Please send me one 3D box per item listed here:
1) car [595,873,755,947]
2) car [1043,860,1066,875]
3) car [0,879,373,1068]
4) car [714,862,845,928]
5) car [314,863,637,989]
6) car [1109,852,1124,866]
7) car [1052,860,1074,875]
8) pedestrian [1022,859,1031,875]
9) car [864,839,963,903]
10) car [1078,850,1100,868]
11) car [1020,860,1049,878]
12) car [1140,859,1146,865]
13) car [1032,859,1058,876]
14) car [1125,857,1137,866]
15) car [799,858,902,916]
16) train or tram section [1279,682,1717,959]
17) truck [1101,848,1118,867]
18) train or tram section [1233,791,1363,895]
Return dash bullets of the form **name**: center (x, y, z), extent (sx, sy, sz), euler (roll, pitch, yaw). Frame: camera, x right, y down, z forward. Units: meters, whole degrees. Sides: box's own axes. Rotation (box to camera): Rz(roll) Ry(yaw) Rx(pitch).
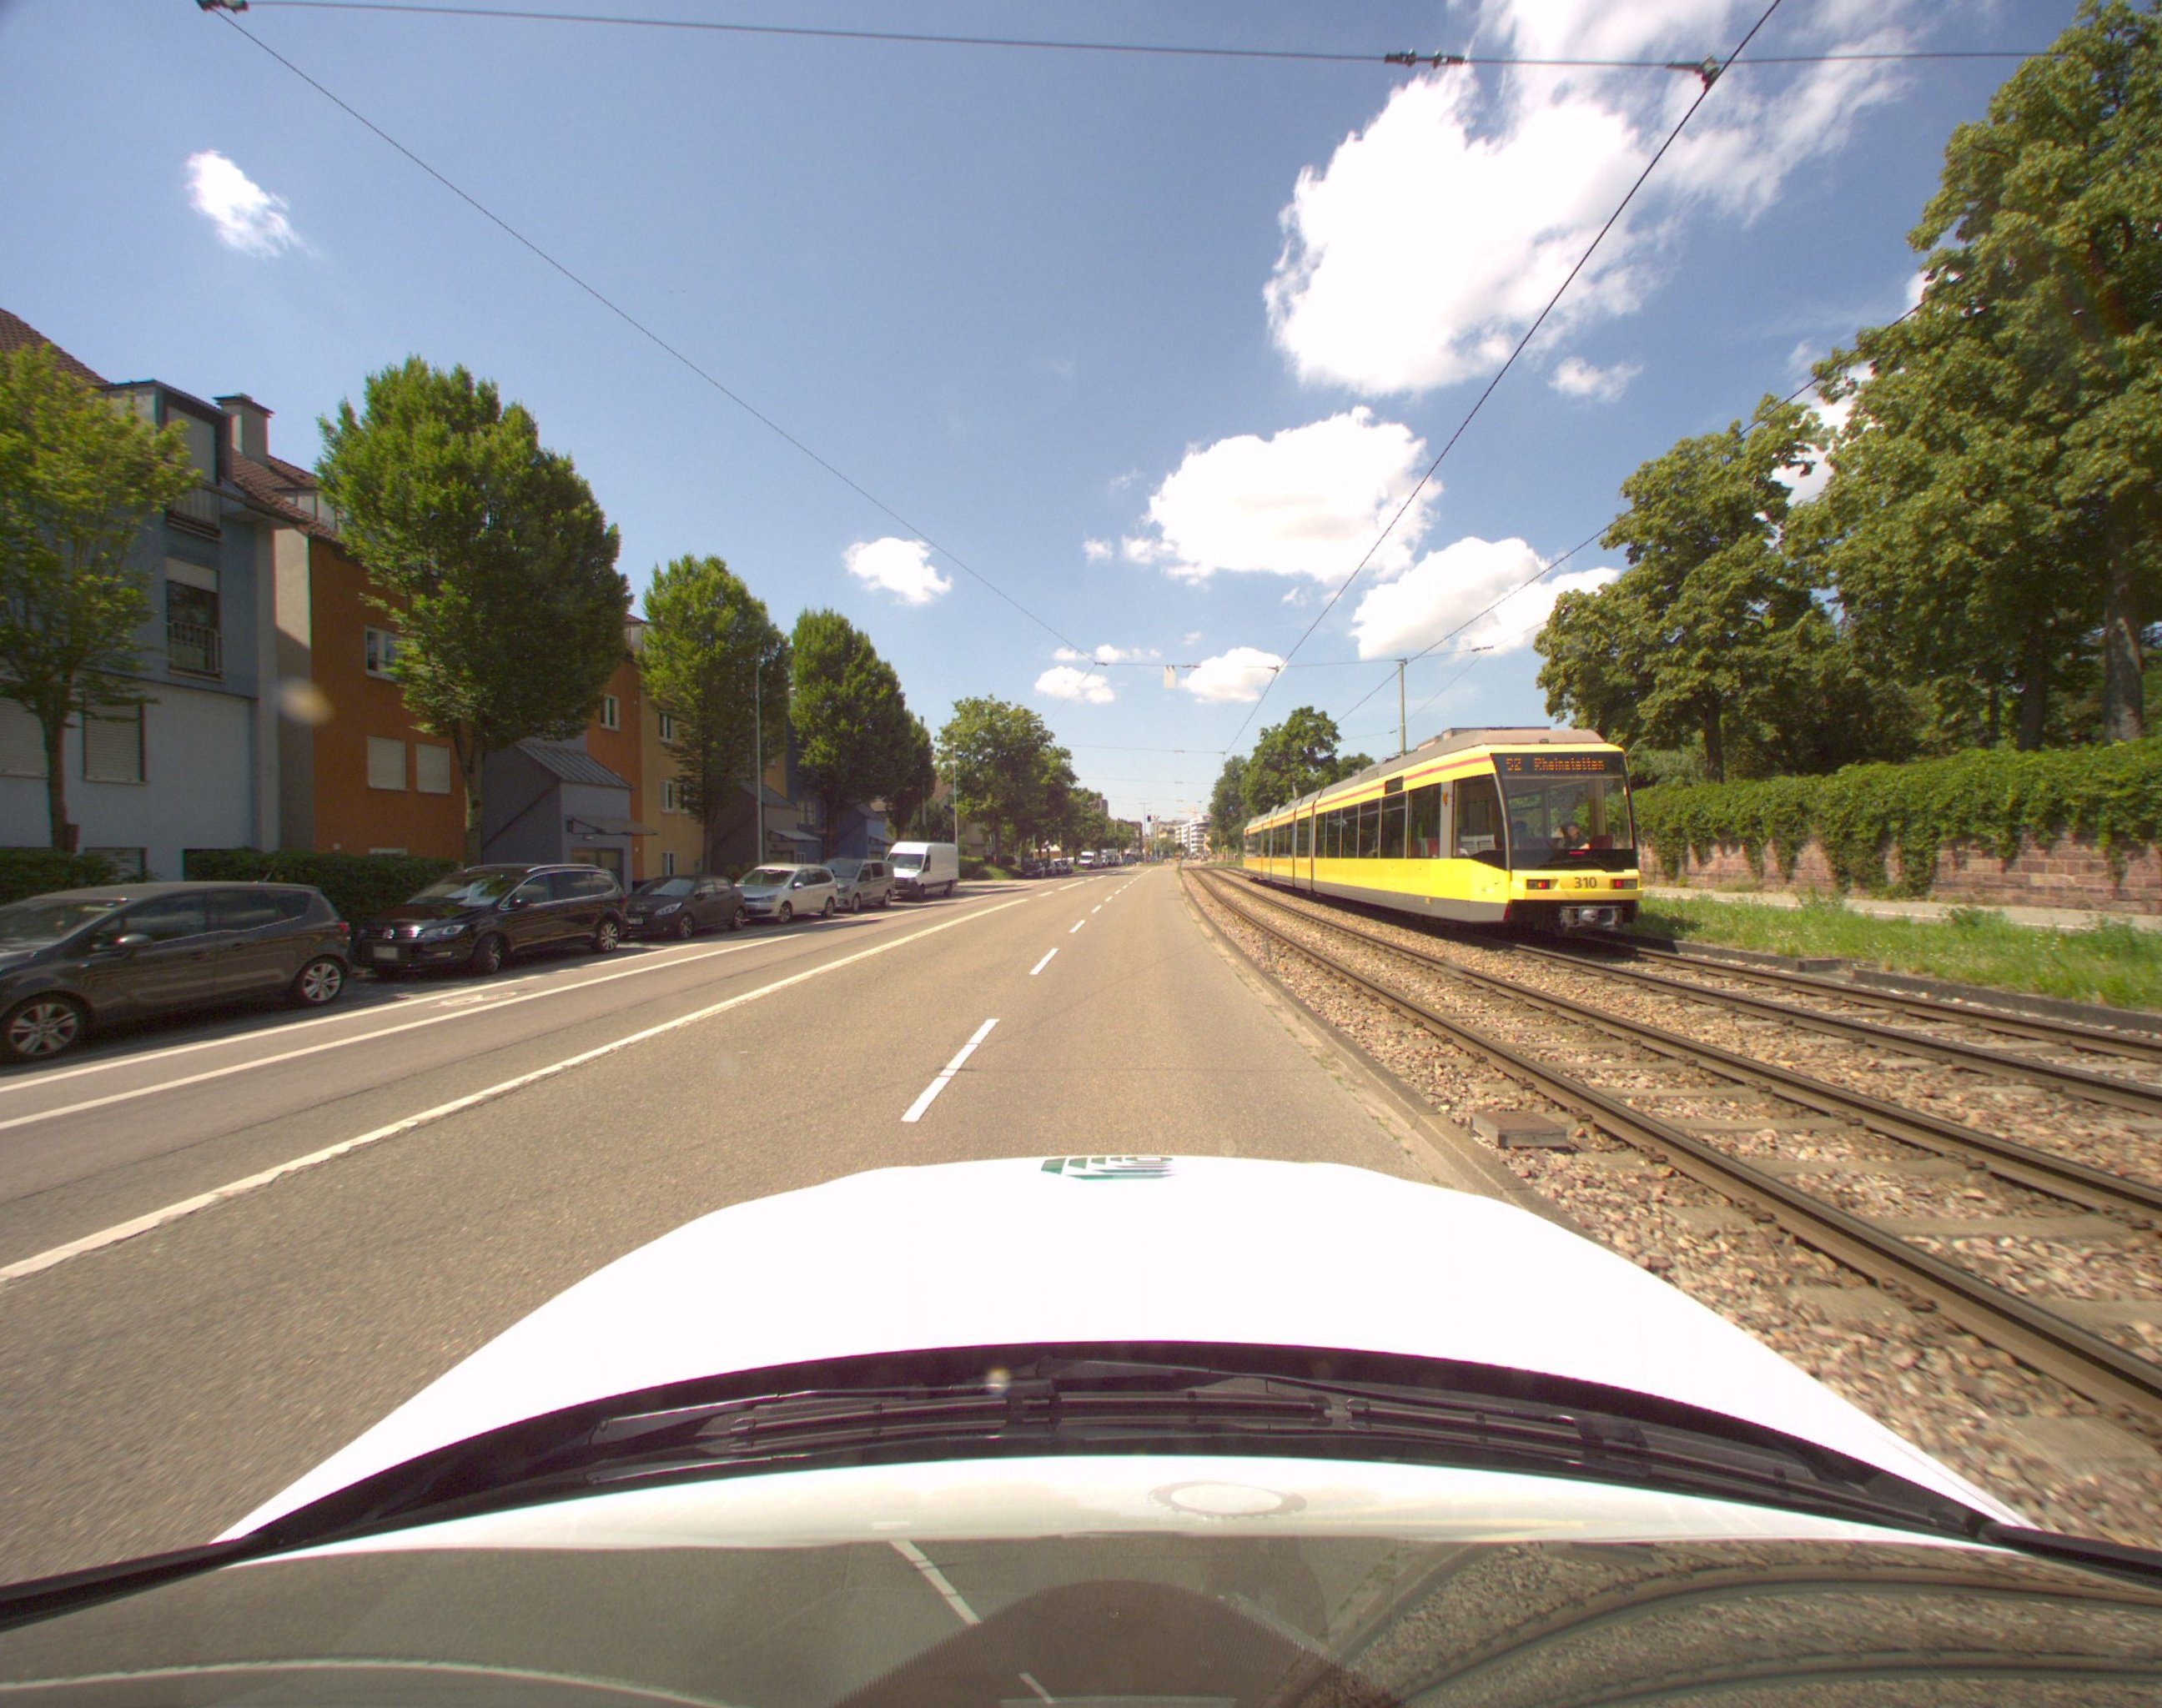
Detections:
- **car**: center (-9.636, 1.264, 19.735), extent (1.591, 1.471, 4.091), euler (-2, 0, 4)
- **car**: center (-2.628, 1.362, 82.213), extent (1.766, 1.373, 4.703), euler (1, 0, 5)
- **car**: center (-10.513, 1.165, 8.869), extent (1.648, 1.617, 4.289), euler (-2, -1, 3)
- **car**: center (-9.028, 1.153, 24.877), extent (1.708, 1.752, 4.911), euler (-2, 0, 6)
- **car**: center (-10.155, 1.079, 14.294), extent (1.743, 1.716, 4.892), euler (-2, 0, 4)
- **car**: center (7.015, 0.937, 159.633), extent (2.144, 2.639, 5.625), euler (2, 0, 9)
- **car**: center (-1.906, 1.406, 87.005), extent (1.765, 1.481, 4.055), euler (0, 0, 7)
- **pedestrian**: center (-6.244, 1.491, 93.484), extent (0.970, 1.823, 0.795), euler (-2, -1, 4)
- **car**: center (-7.785, 0.729, 38.882), extent (2.311, 2.651, 7.049), euler (2, 0, 7)
- **car**: center (1.148, 0.687, 116.788), extent (2.144, 2.487, 6.208), euler (2, 0, 9)
- **car**: center (-3.885, 1.256, 69.255), extent (1.766, 1.456, 4.811), euler (-1, 0, 5)
- **car**: center (16.370, 2.067, 214.924), extent (1.670, 1.398, 4.010), euler (-4, -1, 5)
- **car**: center (-3.354, 1.245, 76.896), extent (1.766, 1.604, 4.644), euler (0, 0, 5)
- **car**: center (8.682, 1.215, 141.592), extent (1.766, 1.460, 4.201), euler (-3, -1, 5)
- **car**: center (-8.459, 1.142, 30.528), extent (1.797, 1.895, 5.371), euler (-2, 0, 6)
- **train or tram section**: center (7.795, -0.417, 20.120), extent (2.929, 3.692, 18.414), euler (0, 0, 5)
- **truck**: center (5.117, 0.616, 144.714), extent (2.144, 3.210, 7.100), euler (2, 0, 9)
- **train or tram section**: center (9.682, -0.381, 39.371), extent (2.928, 3.692, 20.317), euler (-1, 0, 6)
